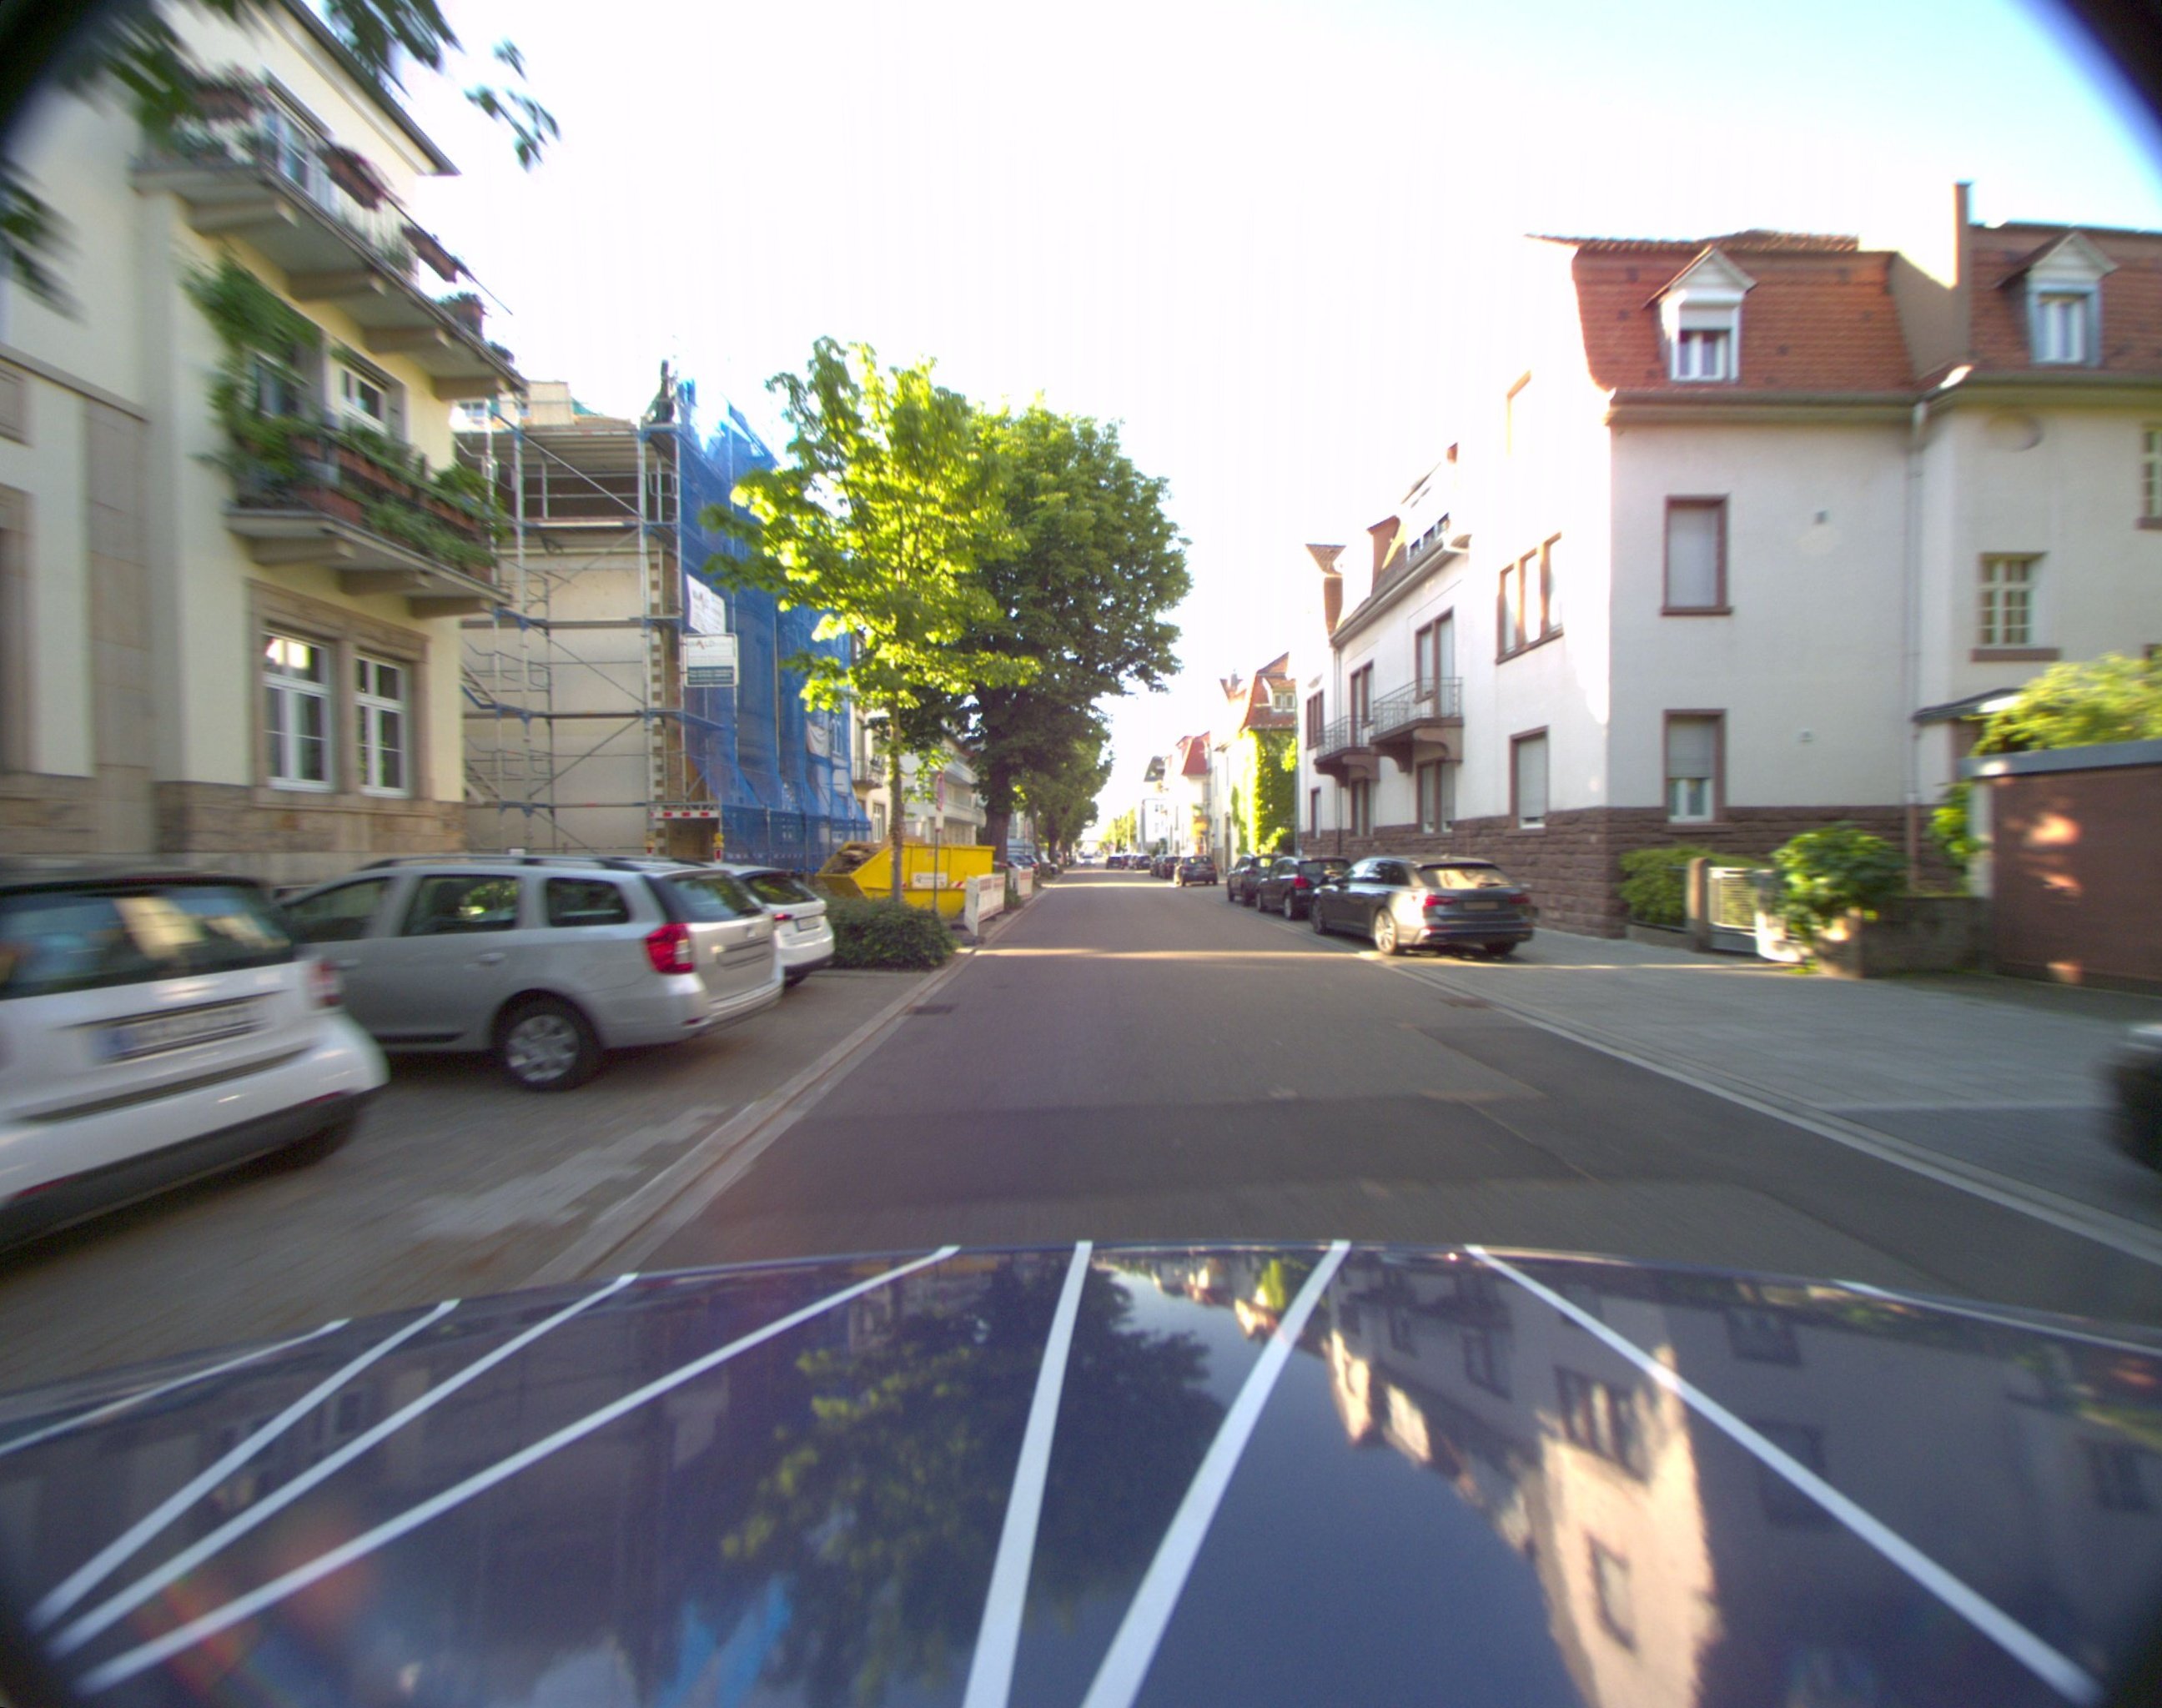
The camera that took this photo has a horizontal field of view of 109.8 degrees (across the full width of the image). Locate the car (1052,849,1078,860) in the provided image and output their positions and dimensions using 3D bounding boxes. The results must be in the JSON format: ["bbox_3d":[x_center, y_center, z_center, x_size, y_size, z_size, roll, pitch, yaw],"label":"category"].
[{"bbox_3d":[-2.306,0.071,110.312,3.680,1.434,1.601,-1,1,1],"label":"car"}]

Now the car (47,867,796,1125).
[{"bbox_3d":[-4.510,0.897,5.627,4.154,1.526,1.687,0,1,3],"label":"car"}]

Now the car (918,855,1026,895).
[{"bbox_3d":[-4.292,0.825,30.402,3.996,1.483,1.851,1,1,2],"label":"car"}]

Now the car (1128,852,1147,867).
[{"bbox_3d":[5.946,0.535,80.427,1.585,1.512,3.706,-2,1,-1],"label":"car"}]

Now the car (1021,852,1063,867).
[{"bbox_3d":[-4.072,0.558,79.686,4.313,1.532,1.758,-1,1,-2],"label":"car"}]

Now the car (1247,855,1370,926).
[{"bbox_3d":[5.308,0.785,18.204,1.658,1.438,3.843,-2,1,-2],"label":"car"}]

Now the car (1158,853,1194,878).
[{"bbox_3d":[5.782,0.661,46.575,1.658,1.407,4.167,-2,1,0],"label":"car"}]

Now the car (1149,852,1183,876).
[{"bbox_3d":[5.755,0.649,51.981,1.714,1.461,4.632,-2,0,-1],"label":"car"}]

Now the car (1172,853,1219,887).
[{"bbox_3d":[5.455,0.726,36.621,1.657,1.438,4.004,-2,1,1],"label":"car"}]

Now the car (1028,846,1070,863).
[{"bbox_3d":[-3.780,0.095,90.995,4.819,1.925,1.950,-1,1,1],"label":"car"}]

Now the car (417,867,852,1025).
[{"bbox_3d":[-4.723,0.907,8.359,3.860,1.454,1.687,0,1,5],"label":"car"}]

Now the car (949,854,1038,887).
[{"bbox_3d":[-4.277,0.788,37.656,4.166,1.530,1.851,1,1,0],"label":"car"}]

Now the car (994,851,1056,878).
[{"bbox_3d":[-3.888,0.697,52.512,4.188,1.714,1.764,-1,1,-7],"label":"car"}]

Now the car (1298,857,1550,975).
[{"bbox_3d":[5.182,0.814,12.338,1.797,1.453,4.776,-1,0,-2],"label":"car"}]

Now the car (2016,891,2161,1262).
[{"bbox_3d":[5.026,0.881,1.371,1.653,1.412,4.098,-2,1,1],"label":"car"}]

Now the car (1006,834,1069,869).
[{"bbox_3d":[-3.569,-0.223,63.097,5.109,2.885,2.075,0,1,-2],"label":"car"}]

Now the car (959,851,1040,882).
[{"bbox_3d":[-4.447,0.670,41.863,4.343,1.673,1.705,0,0,-2],"label":"car"}]

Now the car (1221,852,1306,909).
[{"bbox_3d":[5.356,0.732,22.735,1.657,1.477,3.764,-2,1,1],"label":"car"}]

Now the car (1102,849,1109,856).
[{"bbox_3d":[6.361,-0.439,197.568,1.913,1.679,4.198,-3,1,1],"label":"car"}]

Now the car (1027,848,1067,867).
[{"bbox_3d":[-3.695,0.375,82.345,4.313,1.874,1.758,-1,2,-2],"label":"car"}]

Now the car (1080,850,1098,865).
[{"bbox_3d":[0.981,0.403,94.341,2.098,1.701,4.606,-2,1,1],"label":"car"}]

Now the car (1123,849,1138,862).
[{"bbox_3d":[6.140,0.193,94.879,1.654,1.474,3.429,-3,1,2],"label":"car"}]

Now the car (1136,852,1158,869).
[{"bbox_3d":[6.039,0.562,70.312,1.657,1.446,4.630,-2,0,1],"label":"car"}]

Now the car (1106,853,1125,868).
[{"bbox_3d":[3.457,0.644,76.427,1.776,1.440,4.000,-1,0,0],"label":"car"}]

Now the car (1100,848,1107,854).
[{"bbox_3d":[6.753,-0.953,228.922,1.913,1.679,4.198,-3,1,1],"label":"car"}]

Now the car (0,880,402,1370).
[{"bbox_3d":[-5.674,0.900,3.009,4.325,1.526,1.828,0,1,0],"label":"car"}]

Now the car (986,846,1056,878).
[{"bbox_3d":[-3.899,0.502,49.997,4.481,2.002,1.895,-1,1,-1],"label":"car"}]
